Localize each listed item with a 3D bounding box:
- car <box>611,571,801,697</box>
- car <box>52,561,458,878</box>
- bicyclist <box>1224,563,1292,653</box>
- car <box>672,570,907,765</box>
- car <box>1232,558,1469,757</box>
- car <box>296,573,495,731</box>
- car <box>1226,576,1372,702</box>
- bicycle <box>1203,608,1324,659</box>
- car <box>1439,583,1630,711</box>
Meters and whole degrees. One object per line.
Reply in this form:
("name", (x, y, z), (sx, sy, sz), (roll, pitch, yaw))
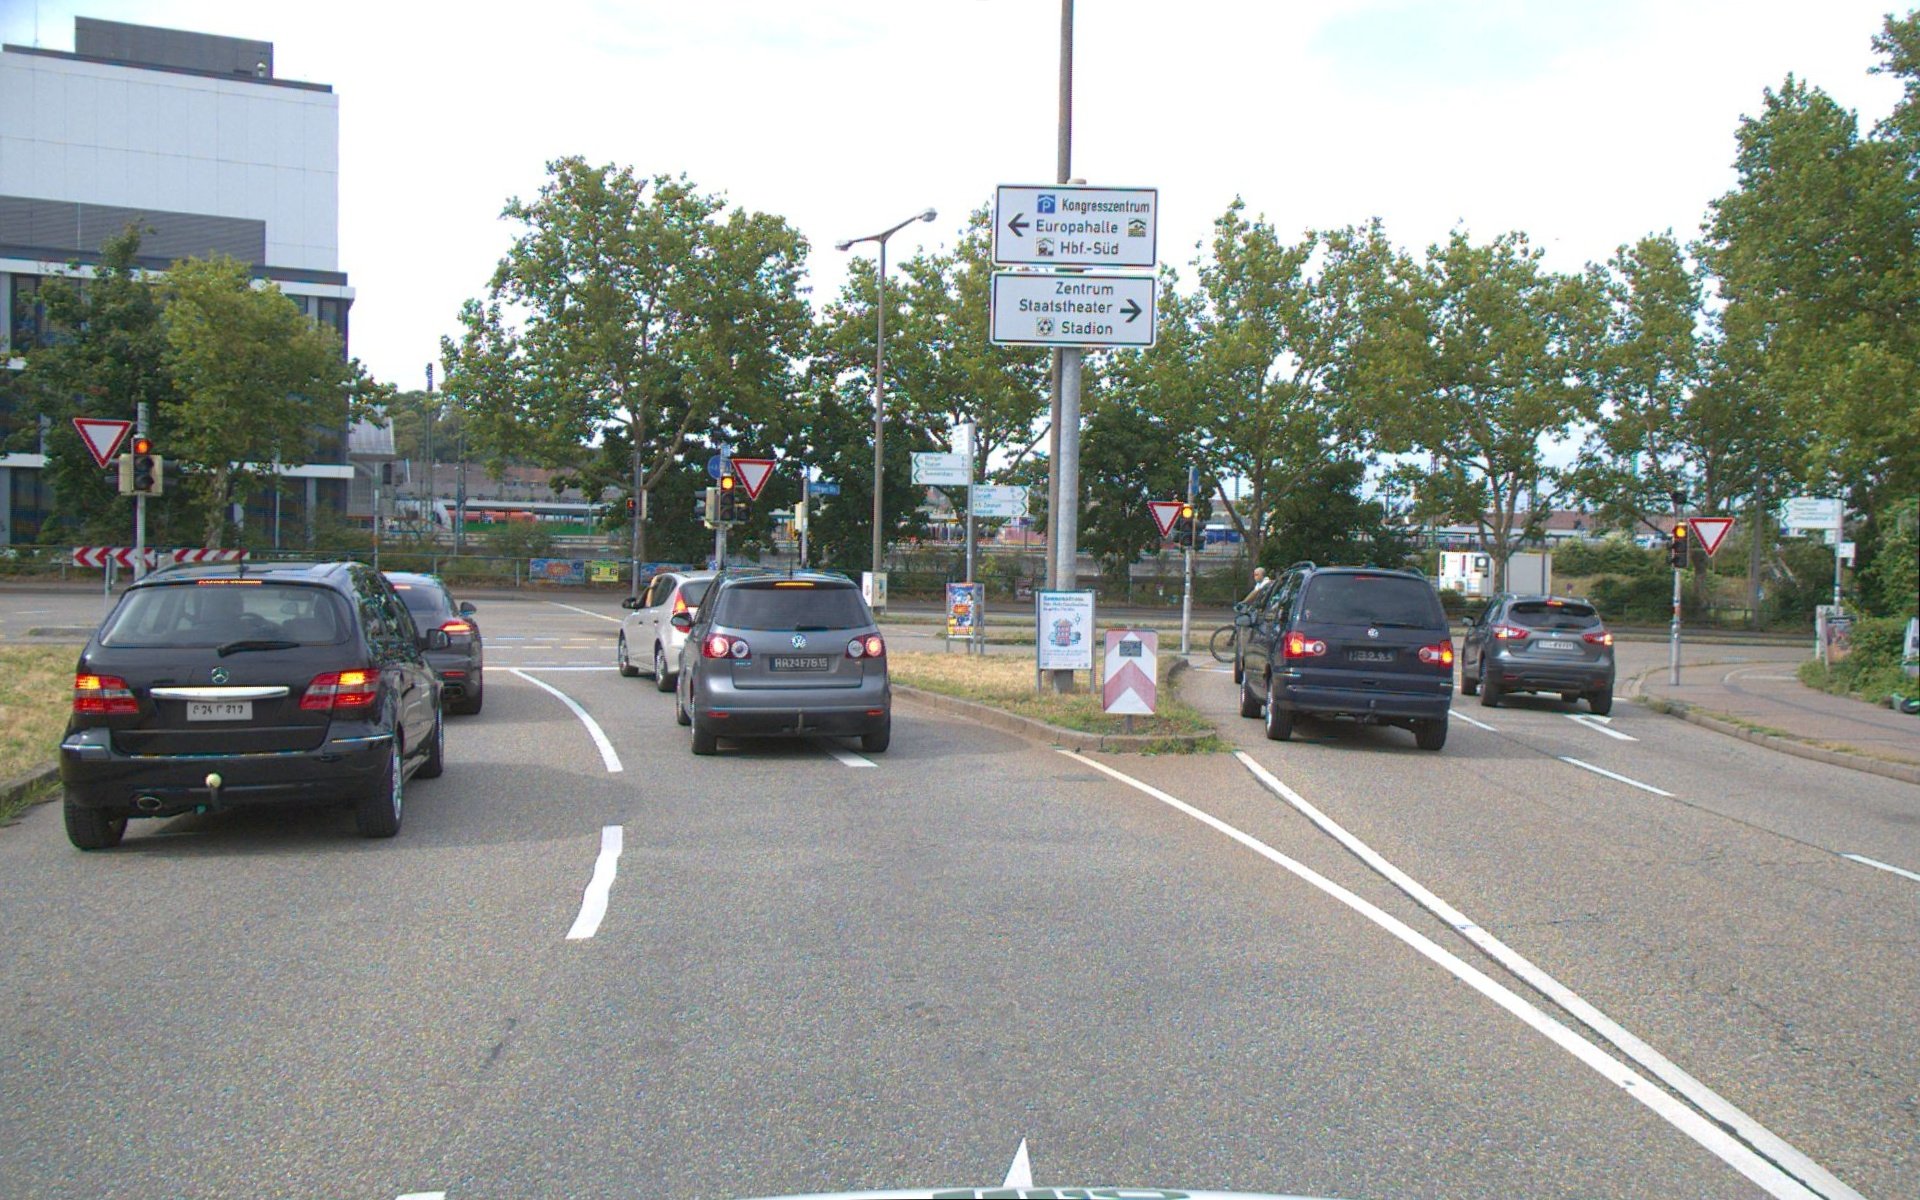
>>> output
("car", (-3.484, 0.378, 22.064), (1.716, 1.508, 4.057), (0, 1, -21))
("car", (-4.334, 0.593, 10.791), (1.727, 1.602, 4.024), (1, 2, -13))
("bicyclist", (5.840, 0.146, 32.426), (1.092, 1.726, 0.811), (0, 1, -10))
("car", (-1.729, 0.513, 15.531), (1.711, 1.573, 4.068), (0, 1, -13))
("car", (3.956, 0.519, 17.409), (1.714, 1.755, 4.140), (3, 0, 4))
("car", (-6.233, 0.463, 18.142), (1.792, 1.438, 4.748), (1, 1, -20))
("car", (4.909, 0.514, 24.398), (1.655, 1.613, 4.159), (3, 0, 6))
("bicycle", (5.942, 0.655, 32.446), (2.187, 0.969, 0.810), (0, 1, -10))
("car", (8.446, 0.632, 24.682), (1.713, 1.671, 4.140), (3, 0, 6))
